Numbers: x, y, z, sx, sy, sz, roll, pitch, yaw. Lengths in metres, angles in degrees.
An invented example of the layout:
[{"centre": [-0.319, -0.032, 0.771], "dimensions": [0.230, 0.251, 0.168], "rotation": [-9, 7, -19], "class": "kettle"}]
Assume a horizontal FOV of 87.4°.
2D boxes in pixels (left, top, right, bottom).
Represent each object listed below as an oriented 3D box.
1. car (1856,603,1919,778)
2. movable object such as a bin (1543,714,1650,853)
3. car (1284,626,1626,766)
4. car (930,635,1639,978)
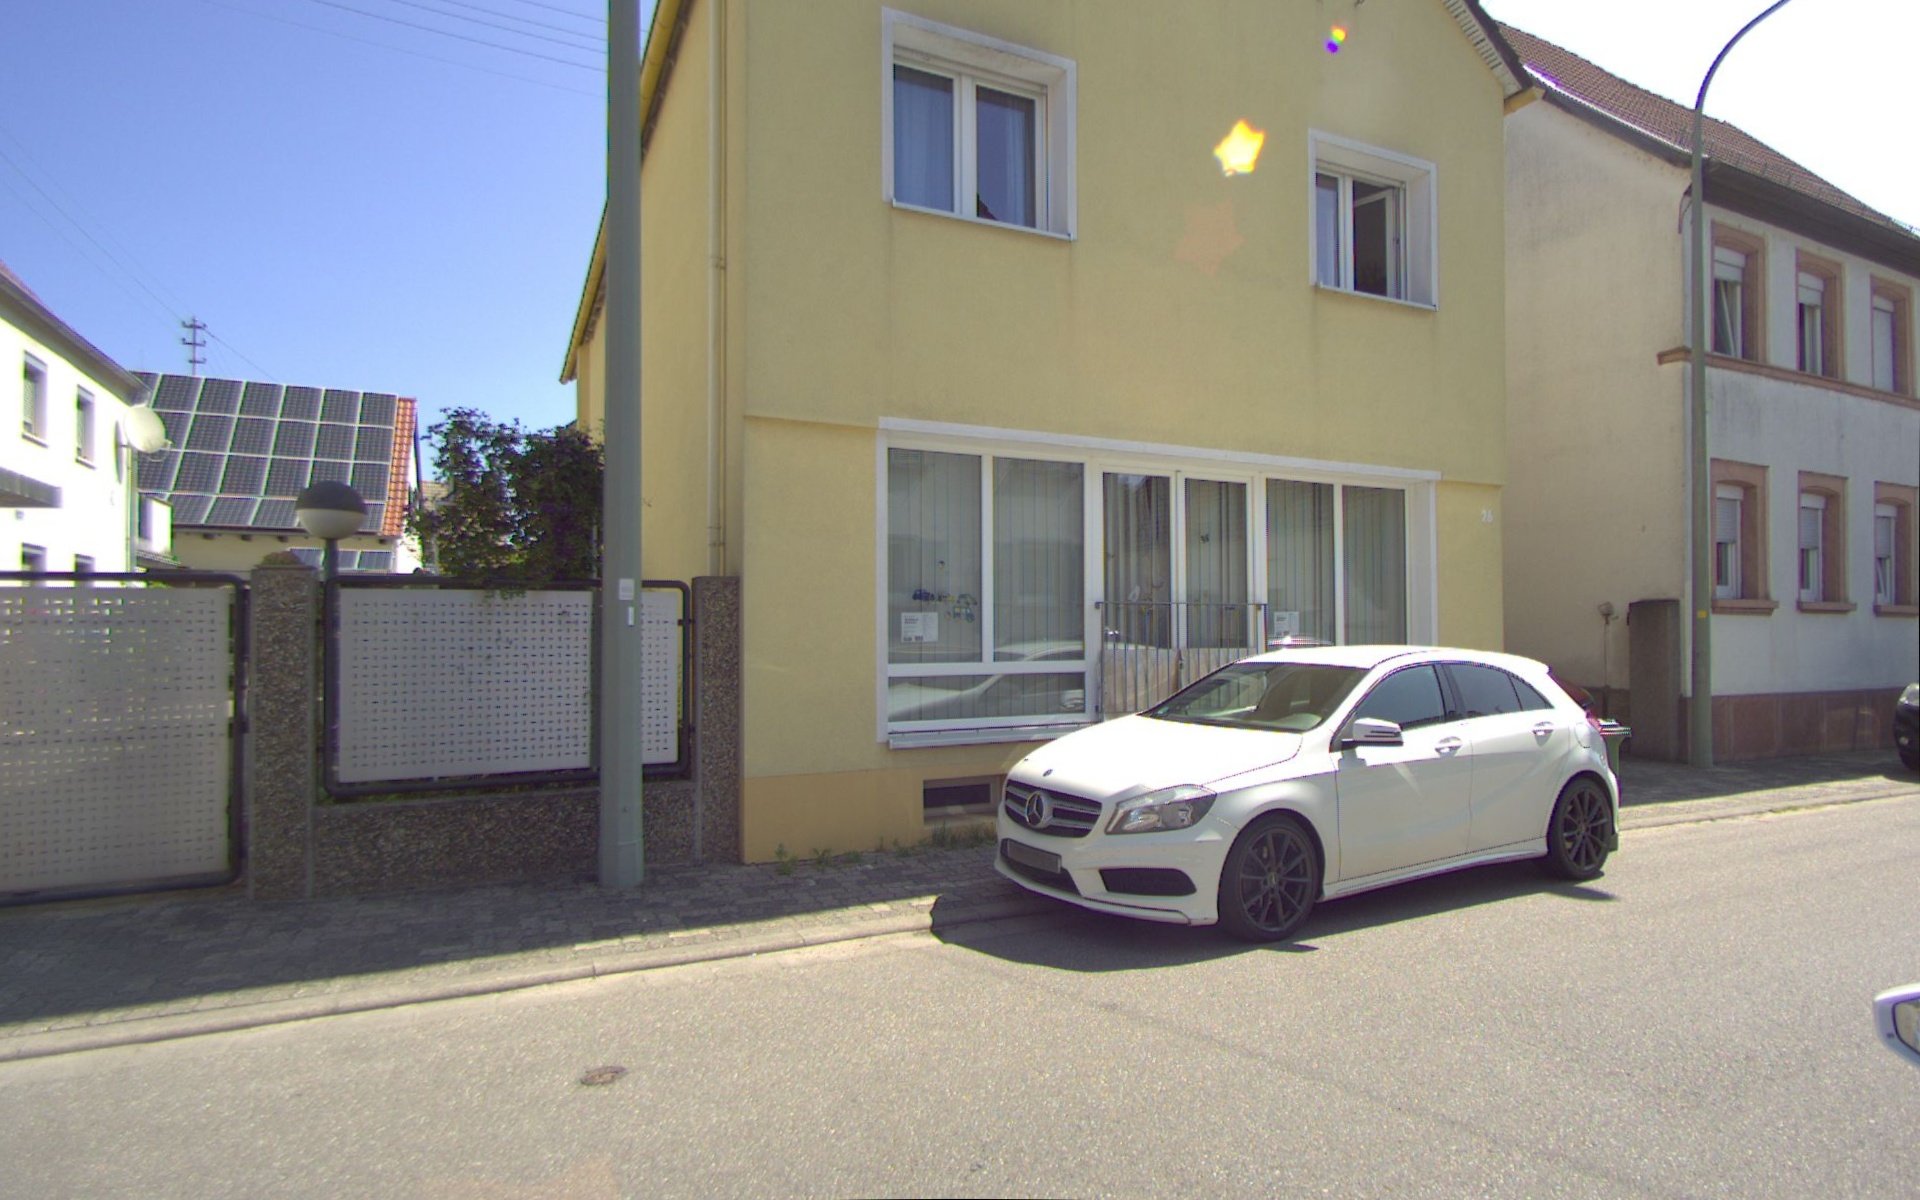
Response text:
[{"centre": [12.291, 0.966, 11.228], "dimensions": [4.294, 1.861, 1.830], "rotation": [1, -3, -25], "class": "car"}, {"centre": [4.556, 1.301, 7.205], "dimensions": [0.487, 0.916, 0.426], "rotation": [0, -1, -7], "class": "movable object such as a bin"}, {"centre": [6.014, 1.073, 12.699], "dimensions": [1.650, 1.477, 3.739], "rotation": [1, -2, -22], "class": "car"}, {"centre": [2.093, 0.979, 6.255], "dimensions": [4.219, 1.483, 1.827], "rotation": [1, -3, -29], "class": "car"}]
